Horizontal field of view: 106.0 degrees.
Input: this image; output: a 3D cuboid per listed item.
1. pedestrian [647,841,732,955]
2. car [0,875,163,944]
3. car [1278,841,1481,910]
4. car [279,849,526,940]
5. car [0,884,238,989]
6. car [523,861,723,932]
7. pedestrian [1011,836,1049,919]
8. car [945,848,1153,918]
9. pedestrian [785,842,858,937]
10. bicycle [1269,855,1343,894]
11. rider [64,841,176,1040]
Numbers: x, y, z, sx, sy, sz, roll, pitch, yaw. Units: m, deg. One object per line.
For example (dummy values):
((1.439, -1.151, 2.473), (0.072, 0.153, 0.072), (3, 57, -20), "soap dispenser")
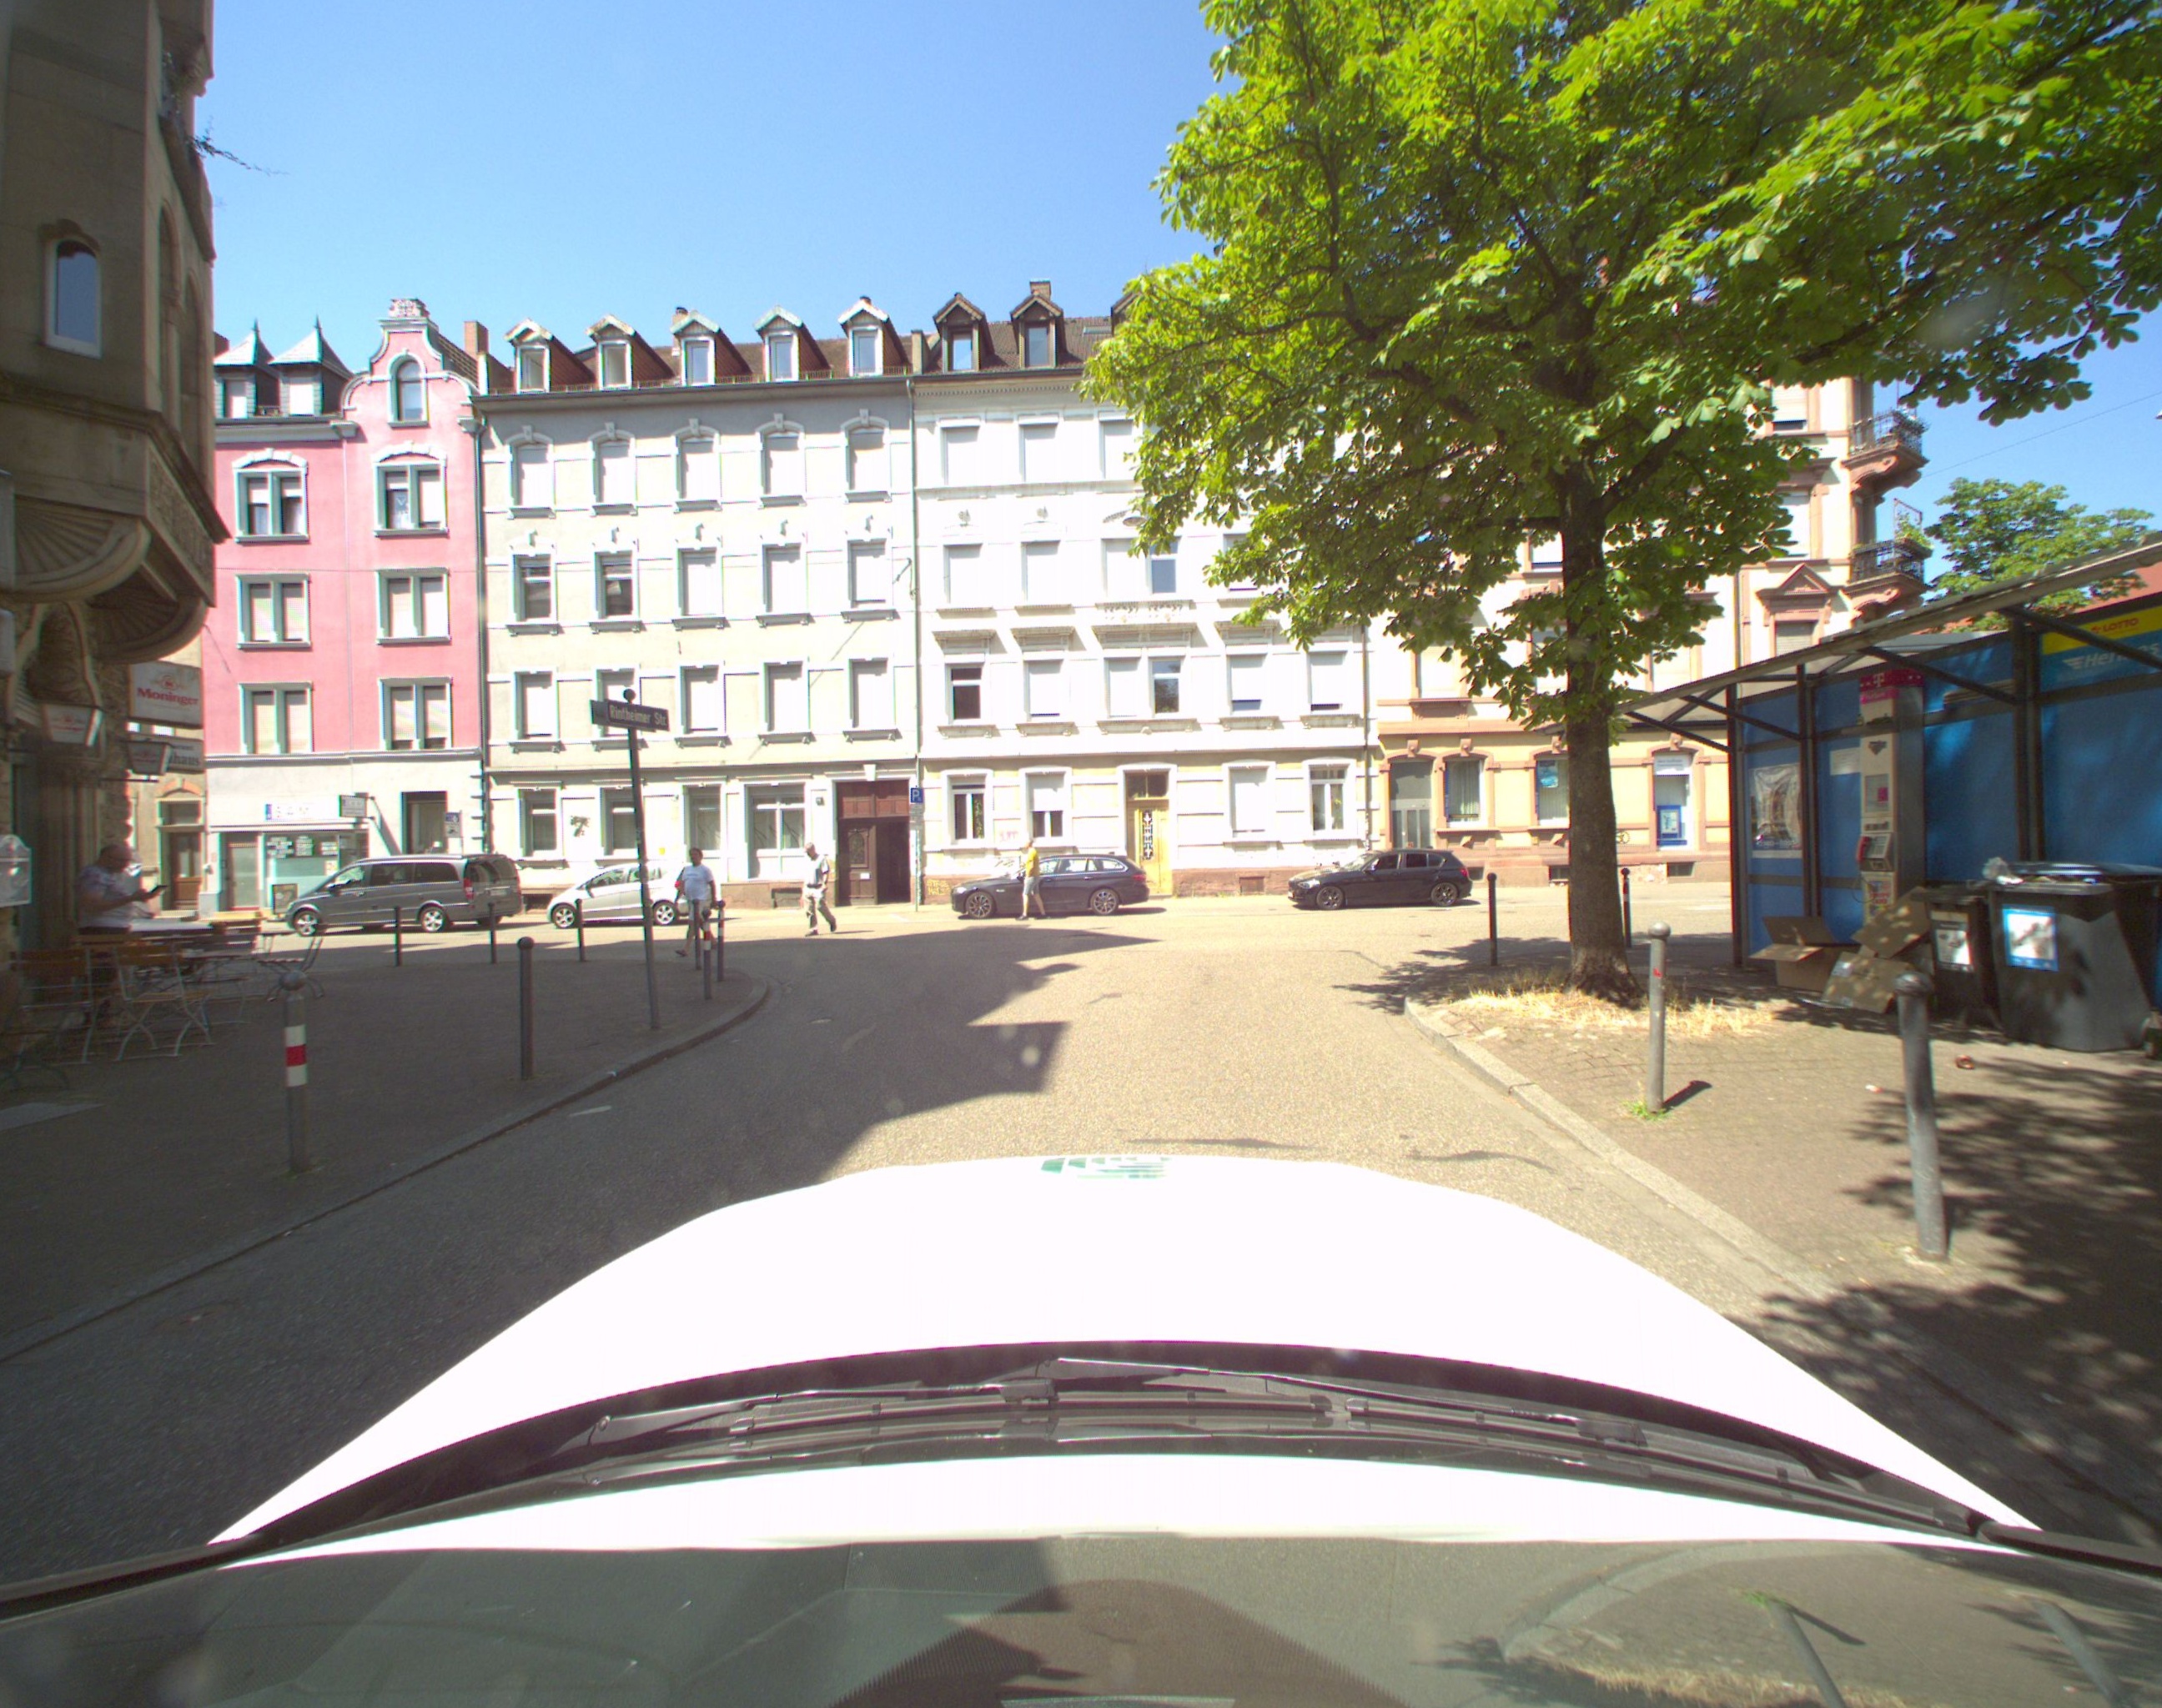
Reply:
((-6.781, 0.737, 14.131), (0.842, 1.889, 0.941), (-3, -1, 27), "pedestrian")
((-26.826, 1.446, 21.212), (3.819, 1.582, 1.723), (-2, 1, 1), "car")
((7.146, 0.491, 19.834), (4.276, 1.370, 1.809), (-2, 2, 3), "car")
((-17.214, 0.982, 20.831), (4.687, 1.997, 1.878), (-2, 1, 2), "car")
((-15.828, 1.264, 12.593), (3.819, 1.426, 1.722), (-2, -2, 1), "car")
((-11.634, 1.046, 20.853), (4.031, 1.562, 1.808), (-2, 0, 2), "car")
((-1.179, 0.537, 18.819), (0.721, 1.853, 0.685), (-2, -1, 4), "pedestrian")
((-0.700, 0.686, 20.090), (4.839, 1.437, 2.002), (-2, 0, 3), "car")
((-5.114, 0.683, 16.091), (0.893, 1.814, 0.965), (-2, -1, 20), "pedestrian")
((6.455, 0.585, 23.431), (1.998, 1.021, 0.424), (-2, 3, 0), "bicycle")
((-8.718, 0.750, 7.412), (0.544, 1.697, 0.634), (-2, -1, -42), "rider")
